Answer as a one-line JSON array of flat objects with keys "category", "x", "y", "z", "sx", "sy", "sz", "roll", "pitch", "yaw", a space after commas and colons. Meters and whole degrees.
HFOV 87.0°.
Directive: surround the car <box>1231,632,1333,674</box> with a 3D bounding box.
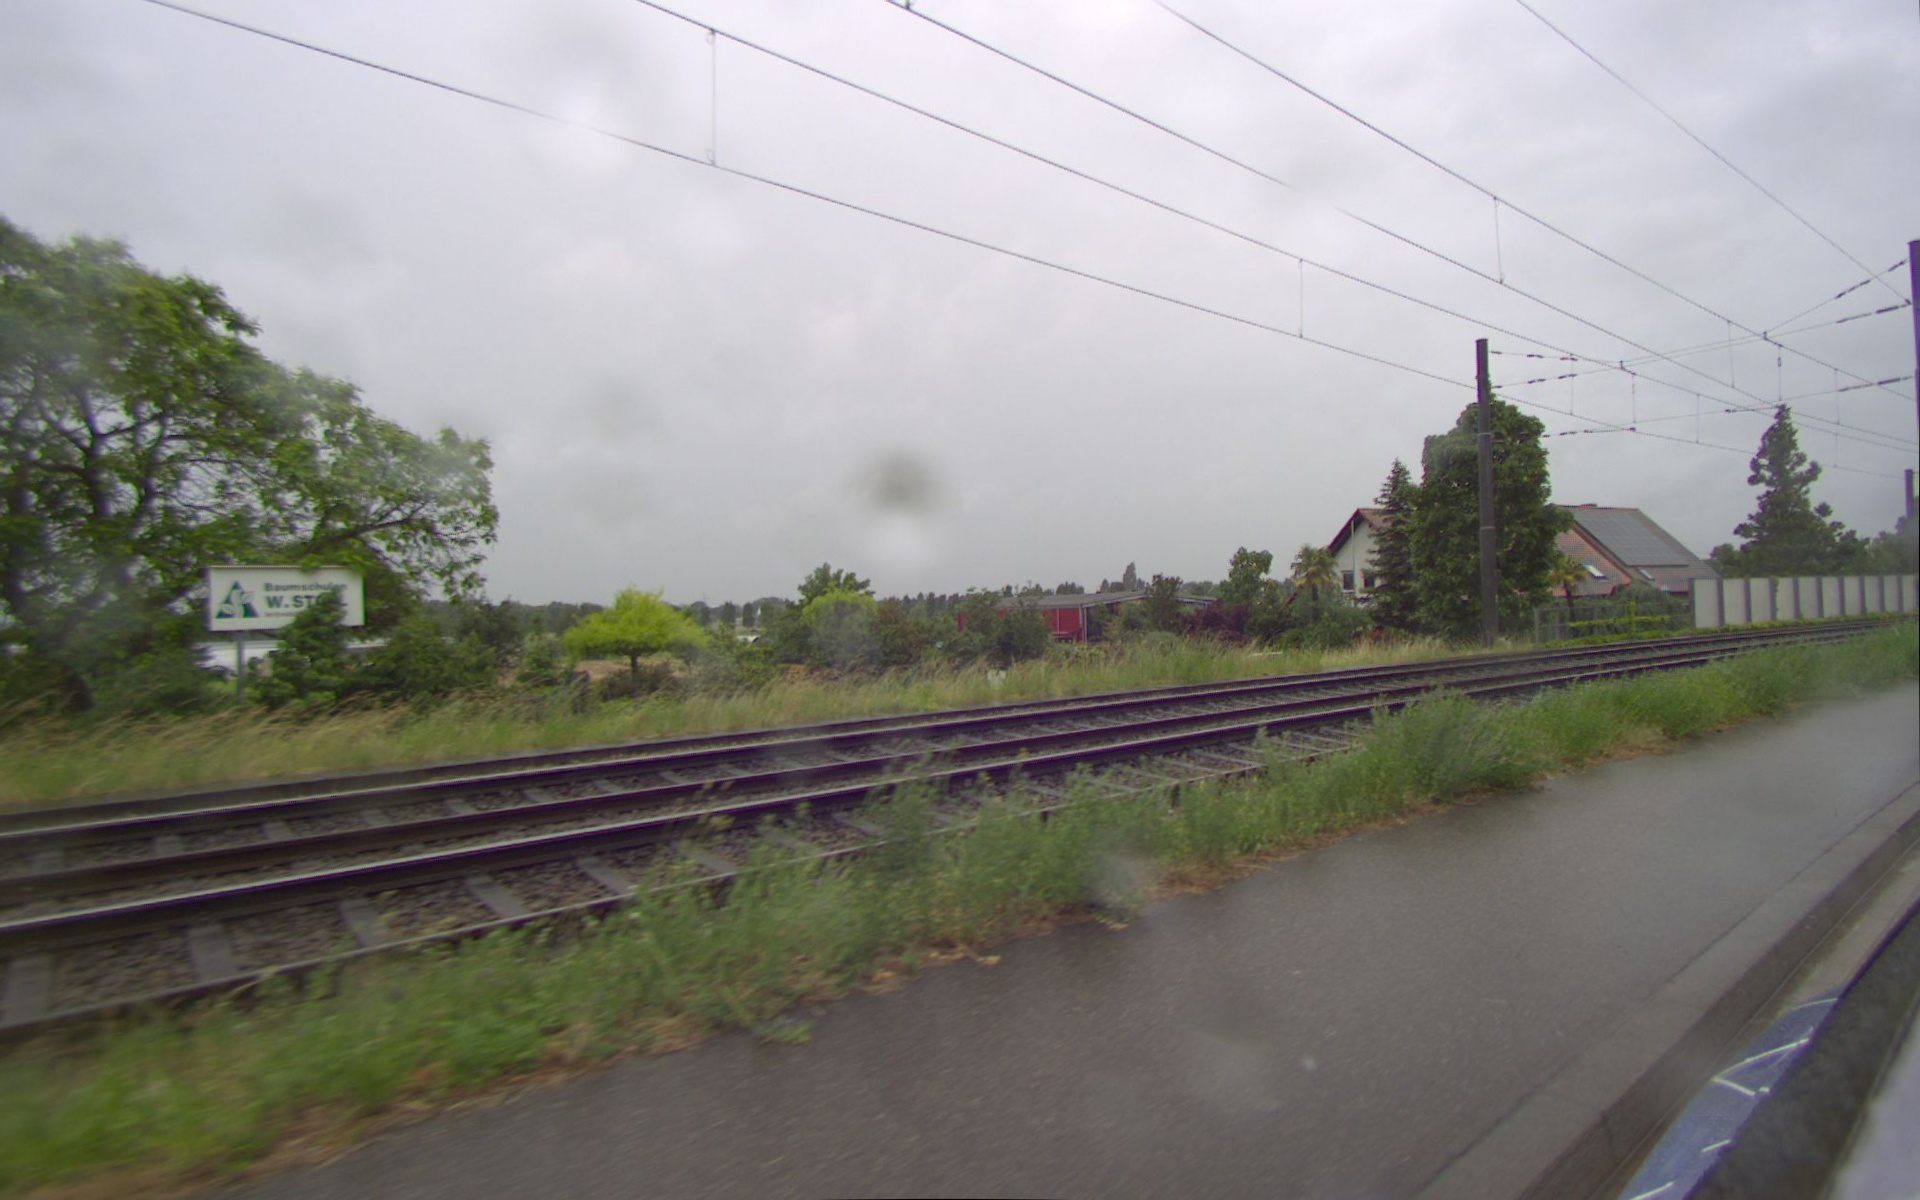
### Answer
[{"category": "car", "x": 14.339, "y": 2.333, "z": 45.298, "sx": 1.840, "sy": 1.658, "sz": 4.200, "roll": -3, "pitch": -1, "yaw": -27}]
